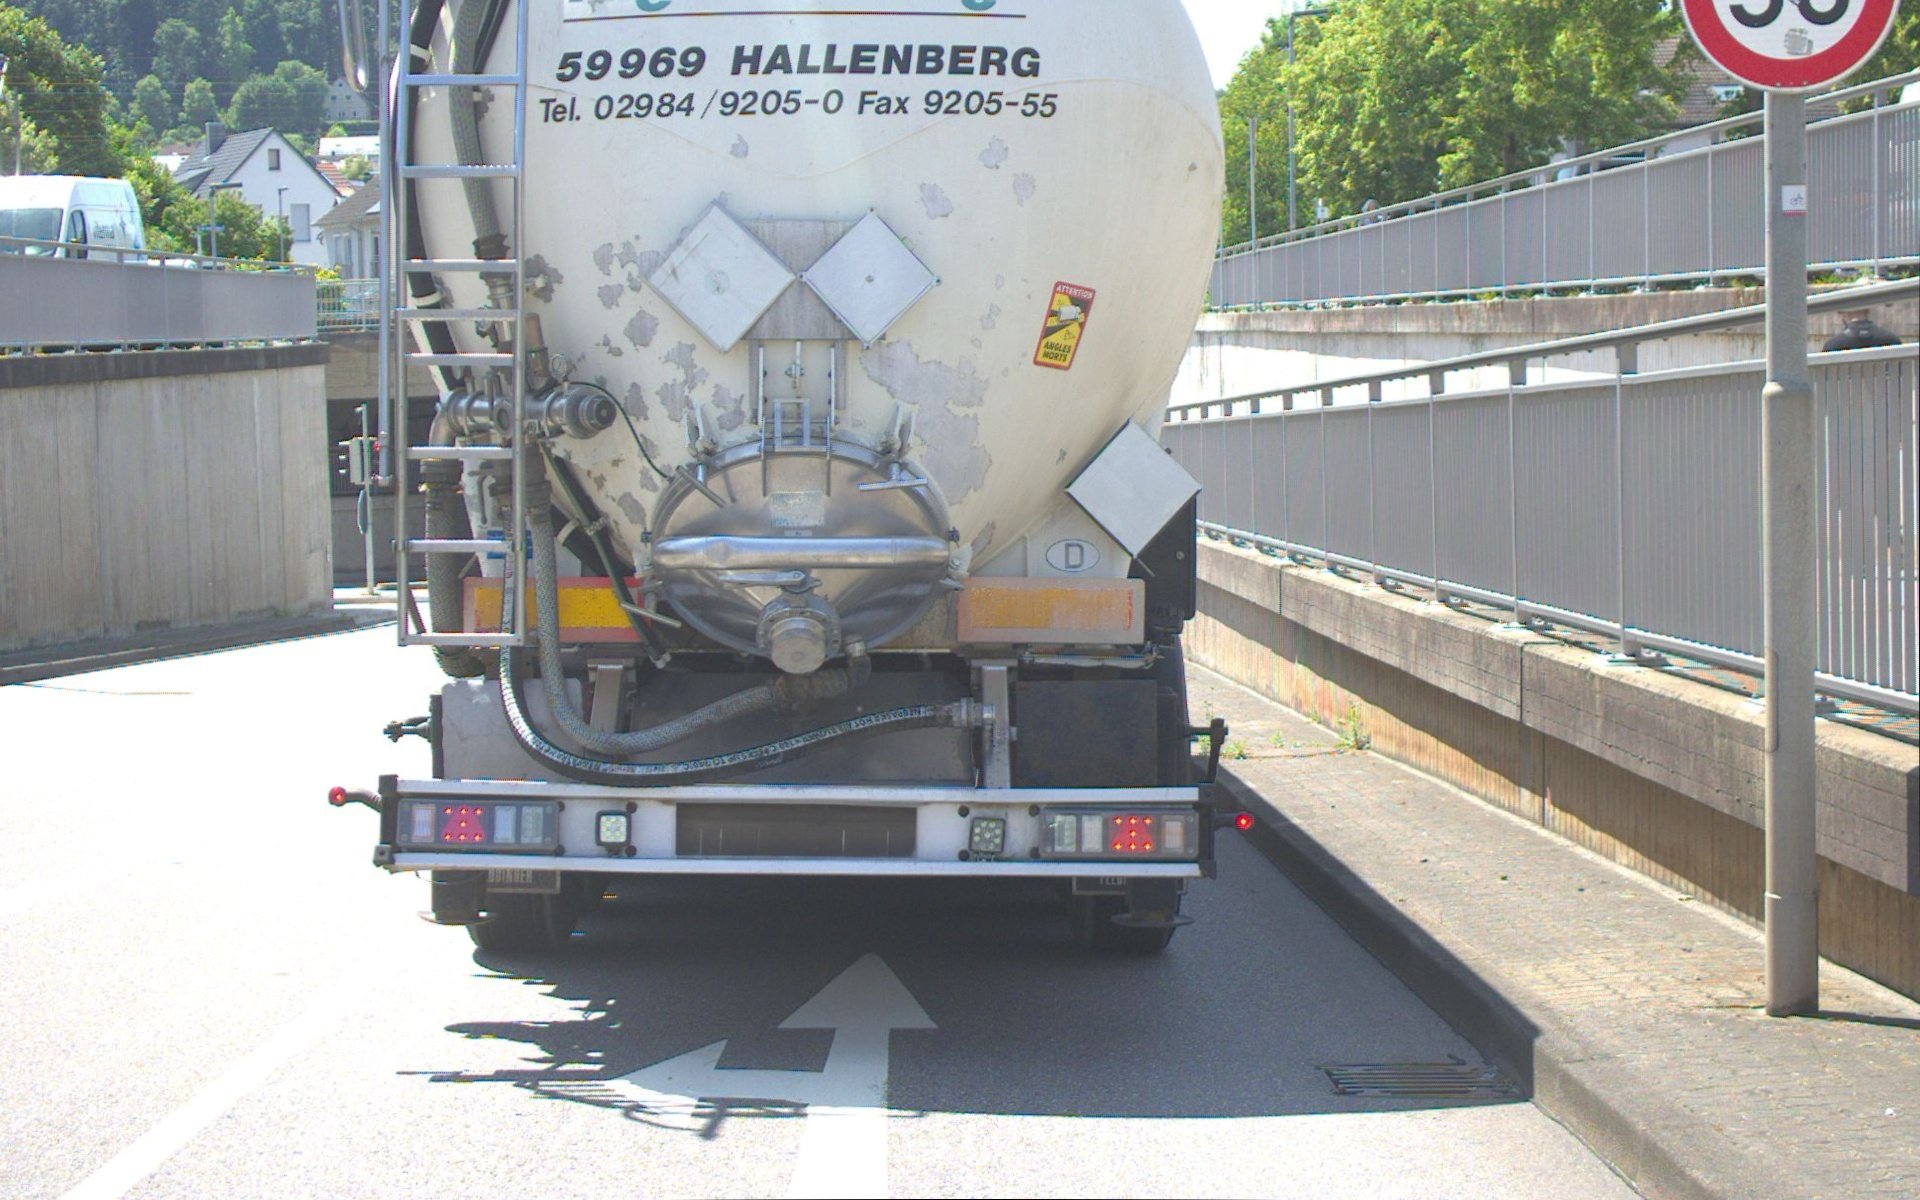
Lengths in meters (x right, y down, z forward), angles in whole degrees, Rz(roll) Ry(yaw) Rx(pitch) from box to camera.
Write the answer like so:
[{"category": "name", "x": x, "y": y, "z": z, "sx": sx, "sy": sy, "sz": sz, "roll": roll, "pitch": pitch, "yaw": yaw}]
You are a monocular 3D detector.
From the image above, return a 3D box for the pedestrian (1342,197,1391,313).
[{"category": "pedestrian", "x": 6.332, "y": -5.373, "z": 53.580, "sx": 0.673, "sy": 1.773, "sz": 0.594, "roll": -1, "pitch": 4, "yaw": 1}]

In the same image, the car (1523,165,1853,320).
[{"category": "car", "x": 9.369, "y": -4.600, "z": 44.447, "sx": 3.905, "sy": 1.878, "sz": 1.686, "roll": -1, "pitch": 4, "yaw": 1}]

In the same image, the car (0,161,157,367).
[{"category": "car", "x": -12.201, "y": -4.355, "z": 45.131, "sx": 2.065, "sy": 2.527, "sz": 5.663, "roll": 1, "pitch": 4, "yaw": -1}]

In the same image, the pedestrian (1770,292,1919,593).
[{"category": "pedestrian", "x": 5.420, "y": -0.948, "z": 20.789, "sx": 0.836, "sy": 1.775, "sz": 0.788, "roll": -1, "pitch": 2, "yaw": 0}]

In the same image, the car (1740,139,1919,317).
[{"category": "car", "x": 9.625, "y": -3.499, "z": 32.307, "sx": 4.204, "sy": 1.590, "sz": 1.686, "roll": -1, "pitch": 4, "yaw": 1}]

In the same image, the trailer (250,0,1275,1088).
[{"category": "trailer", "x": -0.515, "y": -0.846, "z": 15.862, "sx": 2.735, "sy": 4.050, "sz": 13.313, "roll": 0, "pitch": 1, "yaw": 0}]

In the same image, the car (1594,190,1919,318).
[{"category": "car", "x": 9.404, "y": -3.973, "z": 39.587, "sx": 3.905, "sy": 1.362, "sz": 1.686, "roll": -1, "pitch": 4, "yaw": 1}]

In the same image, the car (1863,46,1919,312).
[{"category": "car", "x": 10.070, "y": -3.401, "z": 27.610, "sx": 5.112, "sy": 2.056, "sz": 1.989, "roll": -1, "pitch": 4, "yaw": 1}]
